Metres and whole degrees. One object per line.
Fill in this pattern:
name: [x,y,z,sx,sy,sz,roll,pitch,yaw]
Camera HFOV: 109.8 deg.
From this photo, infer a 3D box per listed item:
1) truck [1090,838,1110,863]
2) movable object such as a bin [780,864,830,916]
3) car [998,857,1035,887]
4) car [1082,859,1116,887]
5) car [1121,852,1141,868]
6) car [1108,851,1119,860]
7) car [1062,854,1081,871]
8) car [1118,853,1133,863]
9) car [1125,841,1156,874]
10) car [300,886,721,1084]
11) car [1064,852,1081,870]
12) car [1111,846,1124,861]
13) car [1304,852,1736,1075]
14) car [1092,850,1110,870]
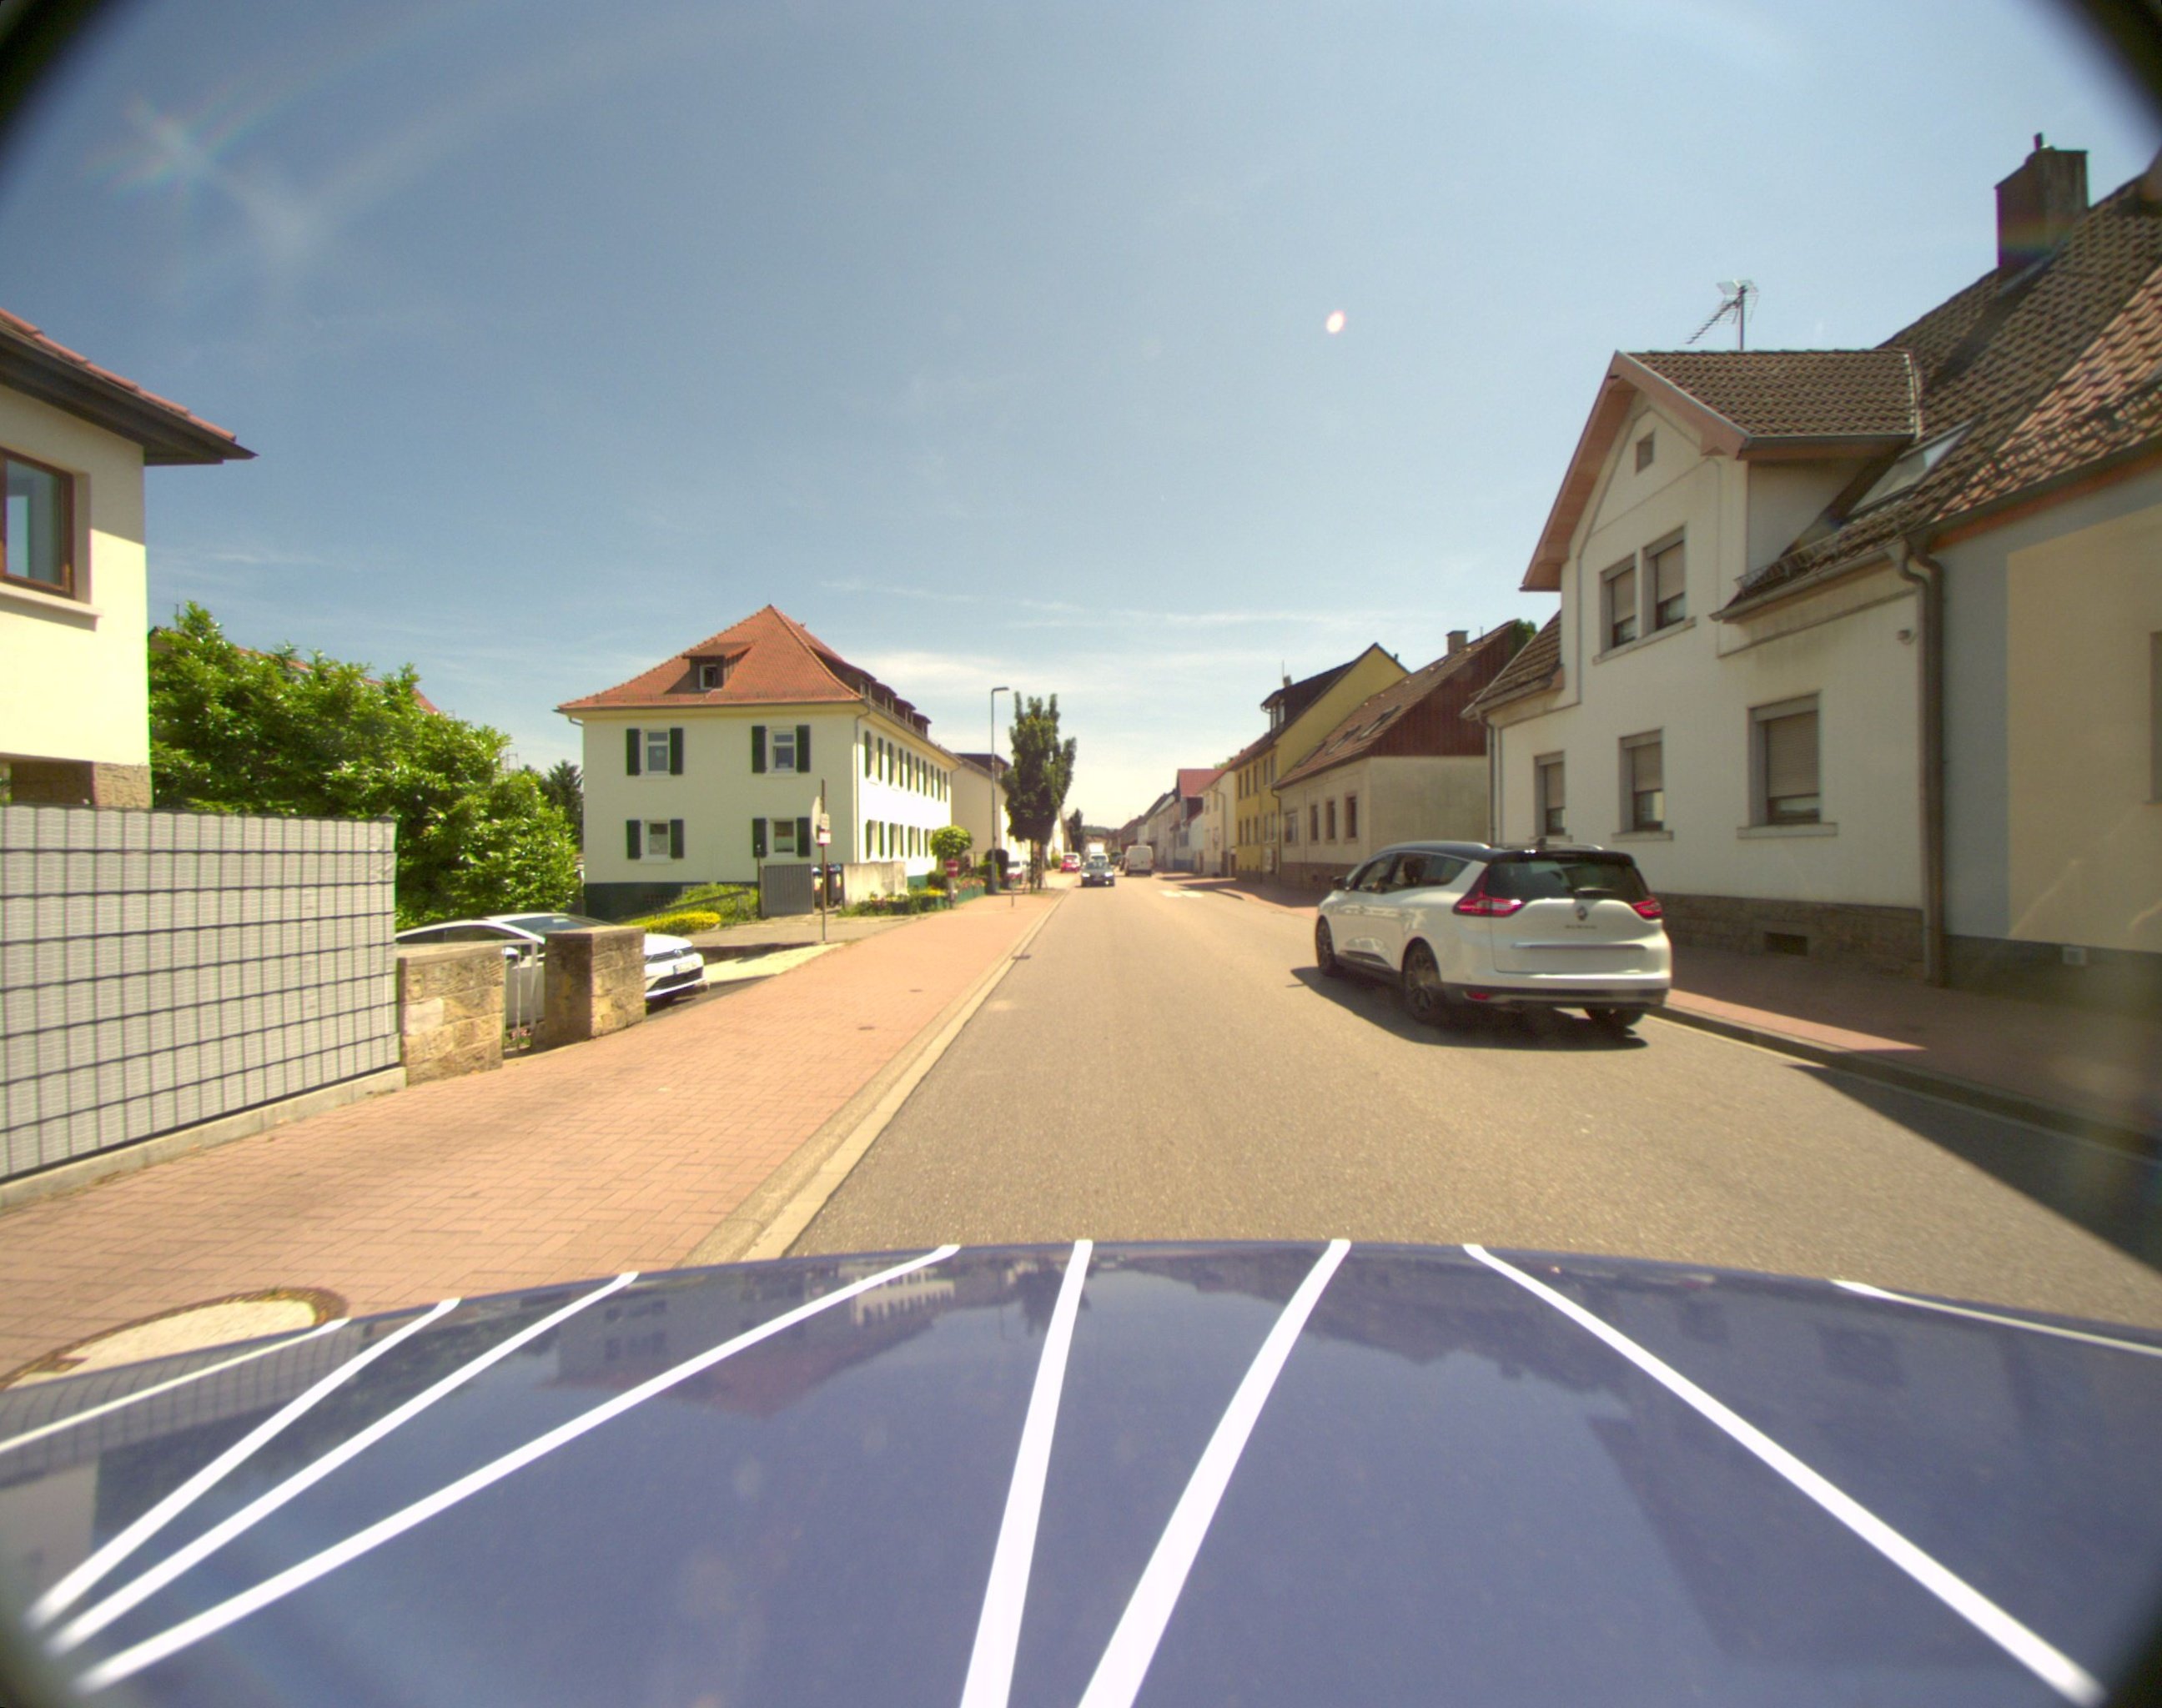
truck: [2.910,-0.527,118.106,2.898,3.516,12.954,-1,0,2]
movable object such as a bin: [-8.147,1.052,22.476,1.052,1.422,0.901,-4,1,3]
car: [-3.735,1.012,44.594,1.508,1.521,4.437,-3,0,4]
car: [0.965,0.988,40.528,1.705,1.346,4.000,-2,0,2]
car: [5.336,0.619,81.497,1.982,1.624,4.251,1,0,2]
car: [6.642,0.338,155.043,1.925,1.782,4.249,1,0,-2]
car: [-0.913,0.777,73.802,1.636,1.572,3.570,1,0,2]
car: [6.324,0.563,108.821,1.982,1.508,4.251,0,0,1]
car: [4.883,0.280,62.798,2.115,2.517,4.914,1,0,0]
car: [-6.998,1.566,9.567,3.967,1.541,1.637,-11,0,4]
car: [-0.895,0.688,80.864,1.636,1.833,3.570,1,0,1]
car: [6.061,-0.093,125.156,1.982,2.502,4.251,1,0,1]
car: [3.879,0.807,7.816,1.878,1.594,4.431,1,0,0]
car: [1.929,0.563,72.557,1.636,1.833,3.570,-1,0,3]
